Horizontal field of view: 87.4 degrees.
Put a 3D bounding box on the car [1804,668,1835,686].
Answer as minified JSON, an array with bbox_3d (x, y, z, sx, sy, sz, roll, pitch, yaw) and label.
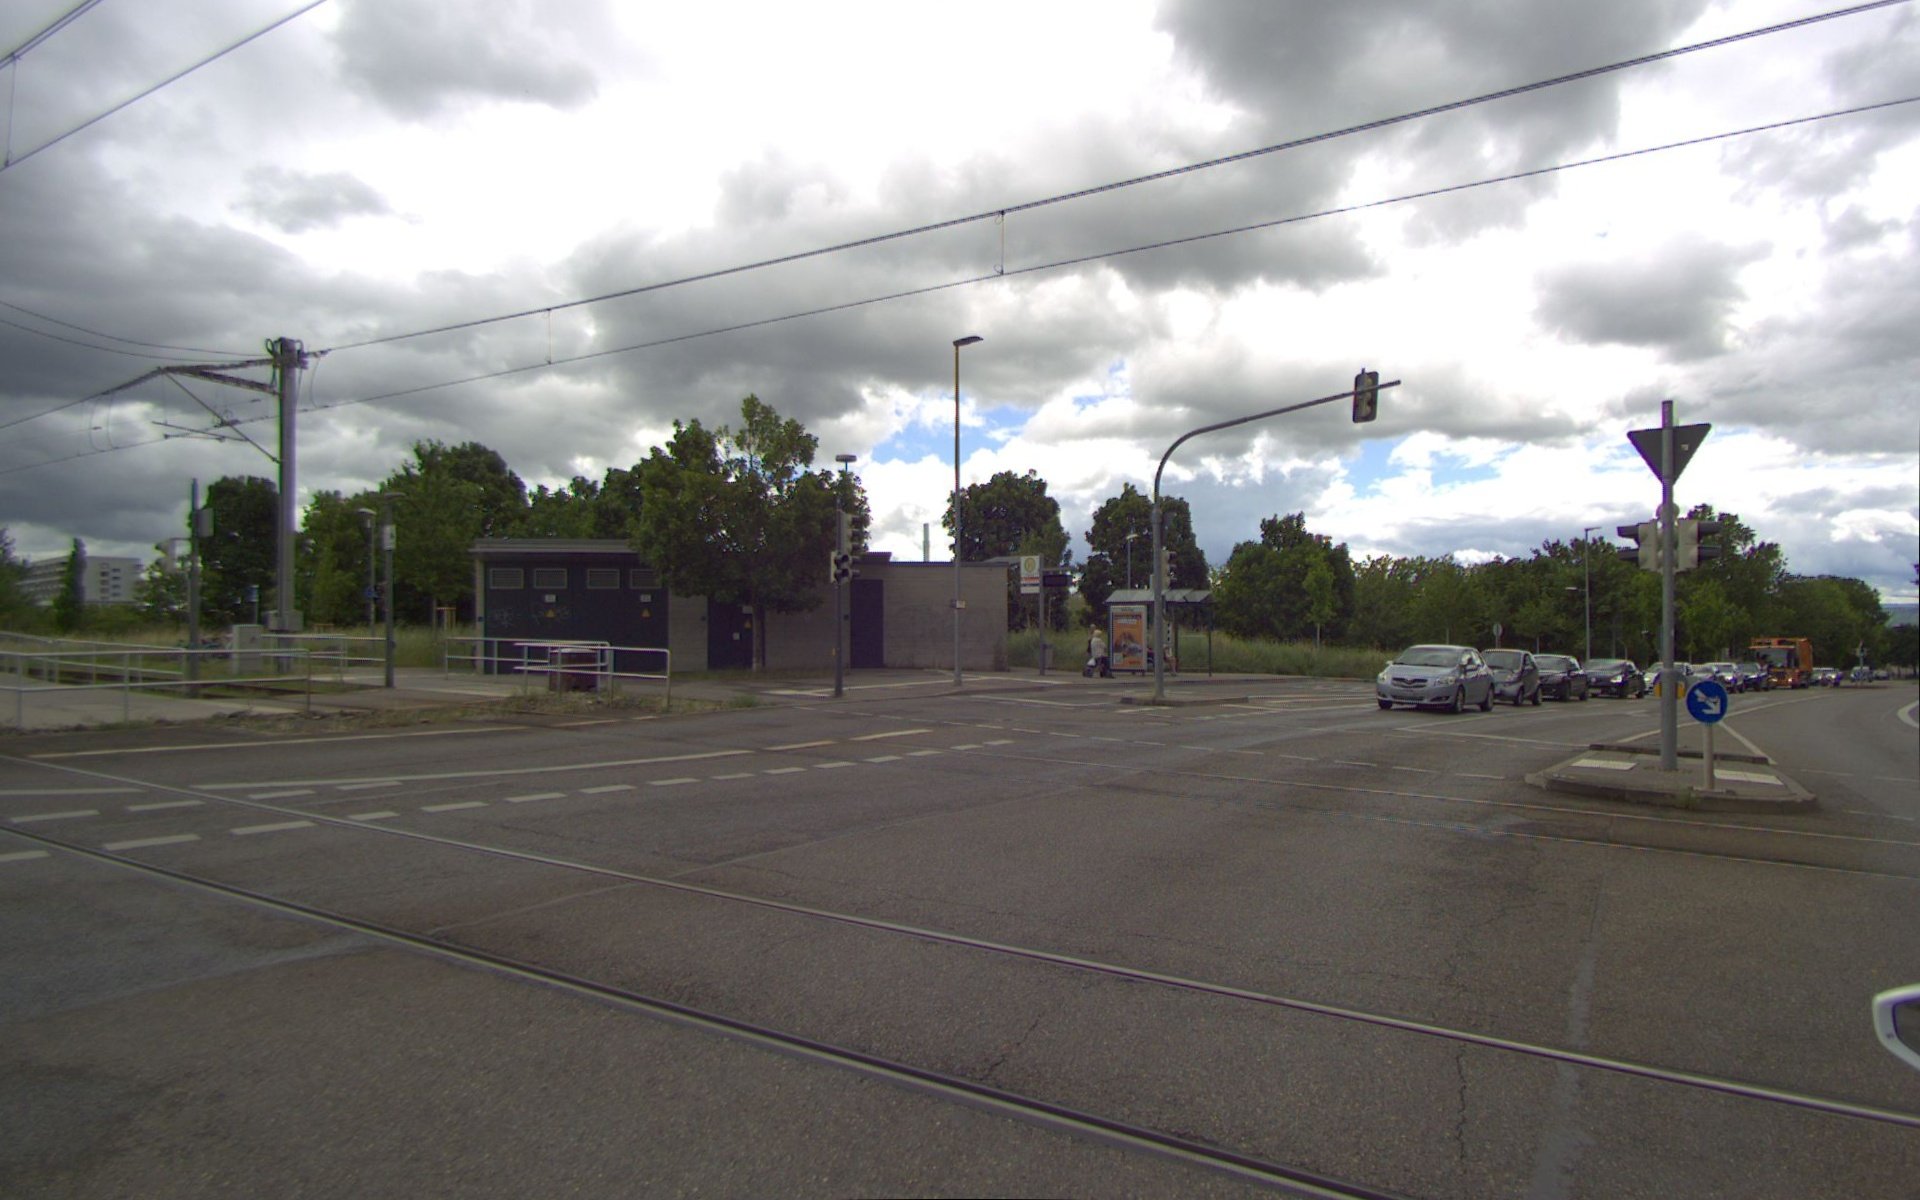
[{"bbox_3d":[69.334,6.203,80.991,3.631,1.348,1.532,4,-7,-45],"label":"car"}]

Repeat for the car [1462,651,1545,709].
[{"bbox_3d":[15.444,2.249,28.510,1.413,1.546,2.759,-2,-4,43],"label":"car"}]

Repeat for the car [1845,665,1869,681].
[{"bbox_3d":[106.290,8.706,119.057,1.828,1.826,4.622,-5,-7,44],"label":"car"}]

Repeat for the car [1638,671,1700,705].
[{"bbox_3d":[31.395,3.852,44.429,3.738,1.408,1.623,4,-4,-45],"label":"car"}]

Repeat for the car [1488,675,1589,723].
[{"bbox_3d":[18.420,3.095,31.905,1.781,1.349,4.354,-2,-4,44],"label":"car"}]

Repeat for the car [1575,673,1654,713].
[{"bbox_3d":[24.067,3.379,36.876,4.035,1.349,1.623,4,-4,-45],"label":"car"}]

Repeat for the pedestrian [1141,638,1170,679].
[{"bbox_3d":[6.470,1.924,33.234,0.762,1.348,0.548,-1,-3,38],"label":"pedestrian"}]

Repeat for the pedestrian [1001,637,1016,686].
[{"bbox_3d":[1.689,2.136,35.159,0.421,1.691,0.550,1,-2,-8],"label":"pedestrian"}]

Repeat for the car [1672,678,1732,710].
[{"bbox_3d":[35.873,4.512,48.530,4.854,1.408,1.623,4,-4,-45],"label":"car"}]

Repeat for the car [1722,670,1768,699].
[{"bbox_3d":[45.768,4.902,58.524,4.035,1.606,1.623,4,-4,-45],"label":"car"}]

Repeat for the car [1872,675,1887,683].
[{"bbox_3d":[162.050,13.895,176.965,3.975,1.321,1.754,4,-5,-45],"label":"car"}]

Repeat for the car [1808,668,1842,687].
[{"bbox_3d":[74.660,6.673,86.666,1.828,1.540,4.786,-5,-7,44],"label":"car"}]

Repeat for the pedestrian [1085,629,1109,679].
[{"bbox_3d":[4.712,1.863,34.570,0.628,1.691,0.549,1,-2,-17],"label":"pedestrian"}]

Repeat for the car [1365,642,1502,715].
[{"bbox_3d":[11.153,1.791,23.543,1.807,1.555,4.198,-2,-4,41],"label":"car"}]

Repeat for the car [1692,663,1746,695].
[{"bbox_3d":[40.293,4.141,53.304,4.196,1.606,1.713,4,-4,-45],"label":"car"}]

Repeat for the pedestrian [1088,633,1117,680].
[{"bbox_3d":[4.250,1.669,29.876,0.542,1.381,0.771,-1,-3,38],"label":"pedestrian"}]

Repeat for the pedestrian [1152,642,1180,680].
[{"bbox_3d":[7.019,2.077,34.223,0.762,1.243,0.548,-1,-3,38],"label":"pedestrian"}]

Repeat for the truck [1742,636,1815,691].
[{"bbox_3d":[56.360,4.381,69.050,9.928,3.532,2.680,4,-4,-44],"label":"truck"}]
